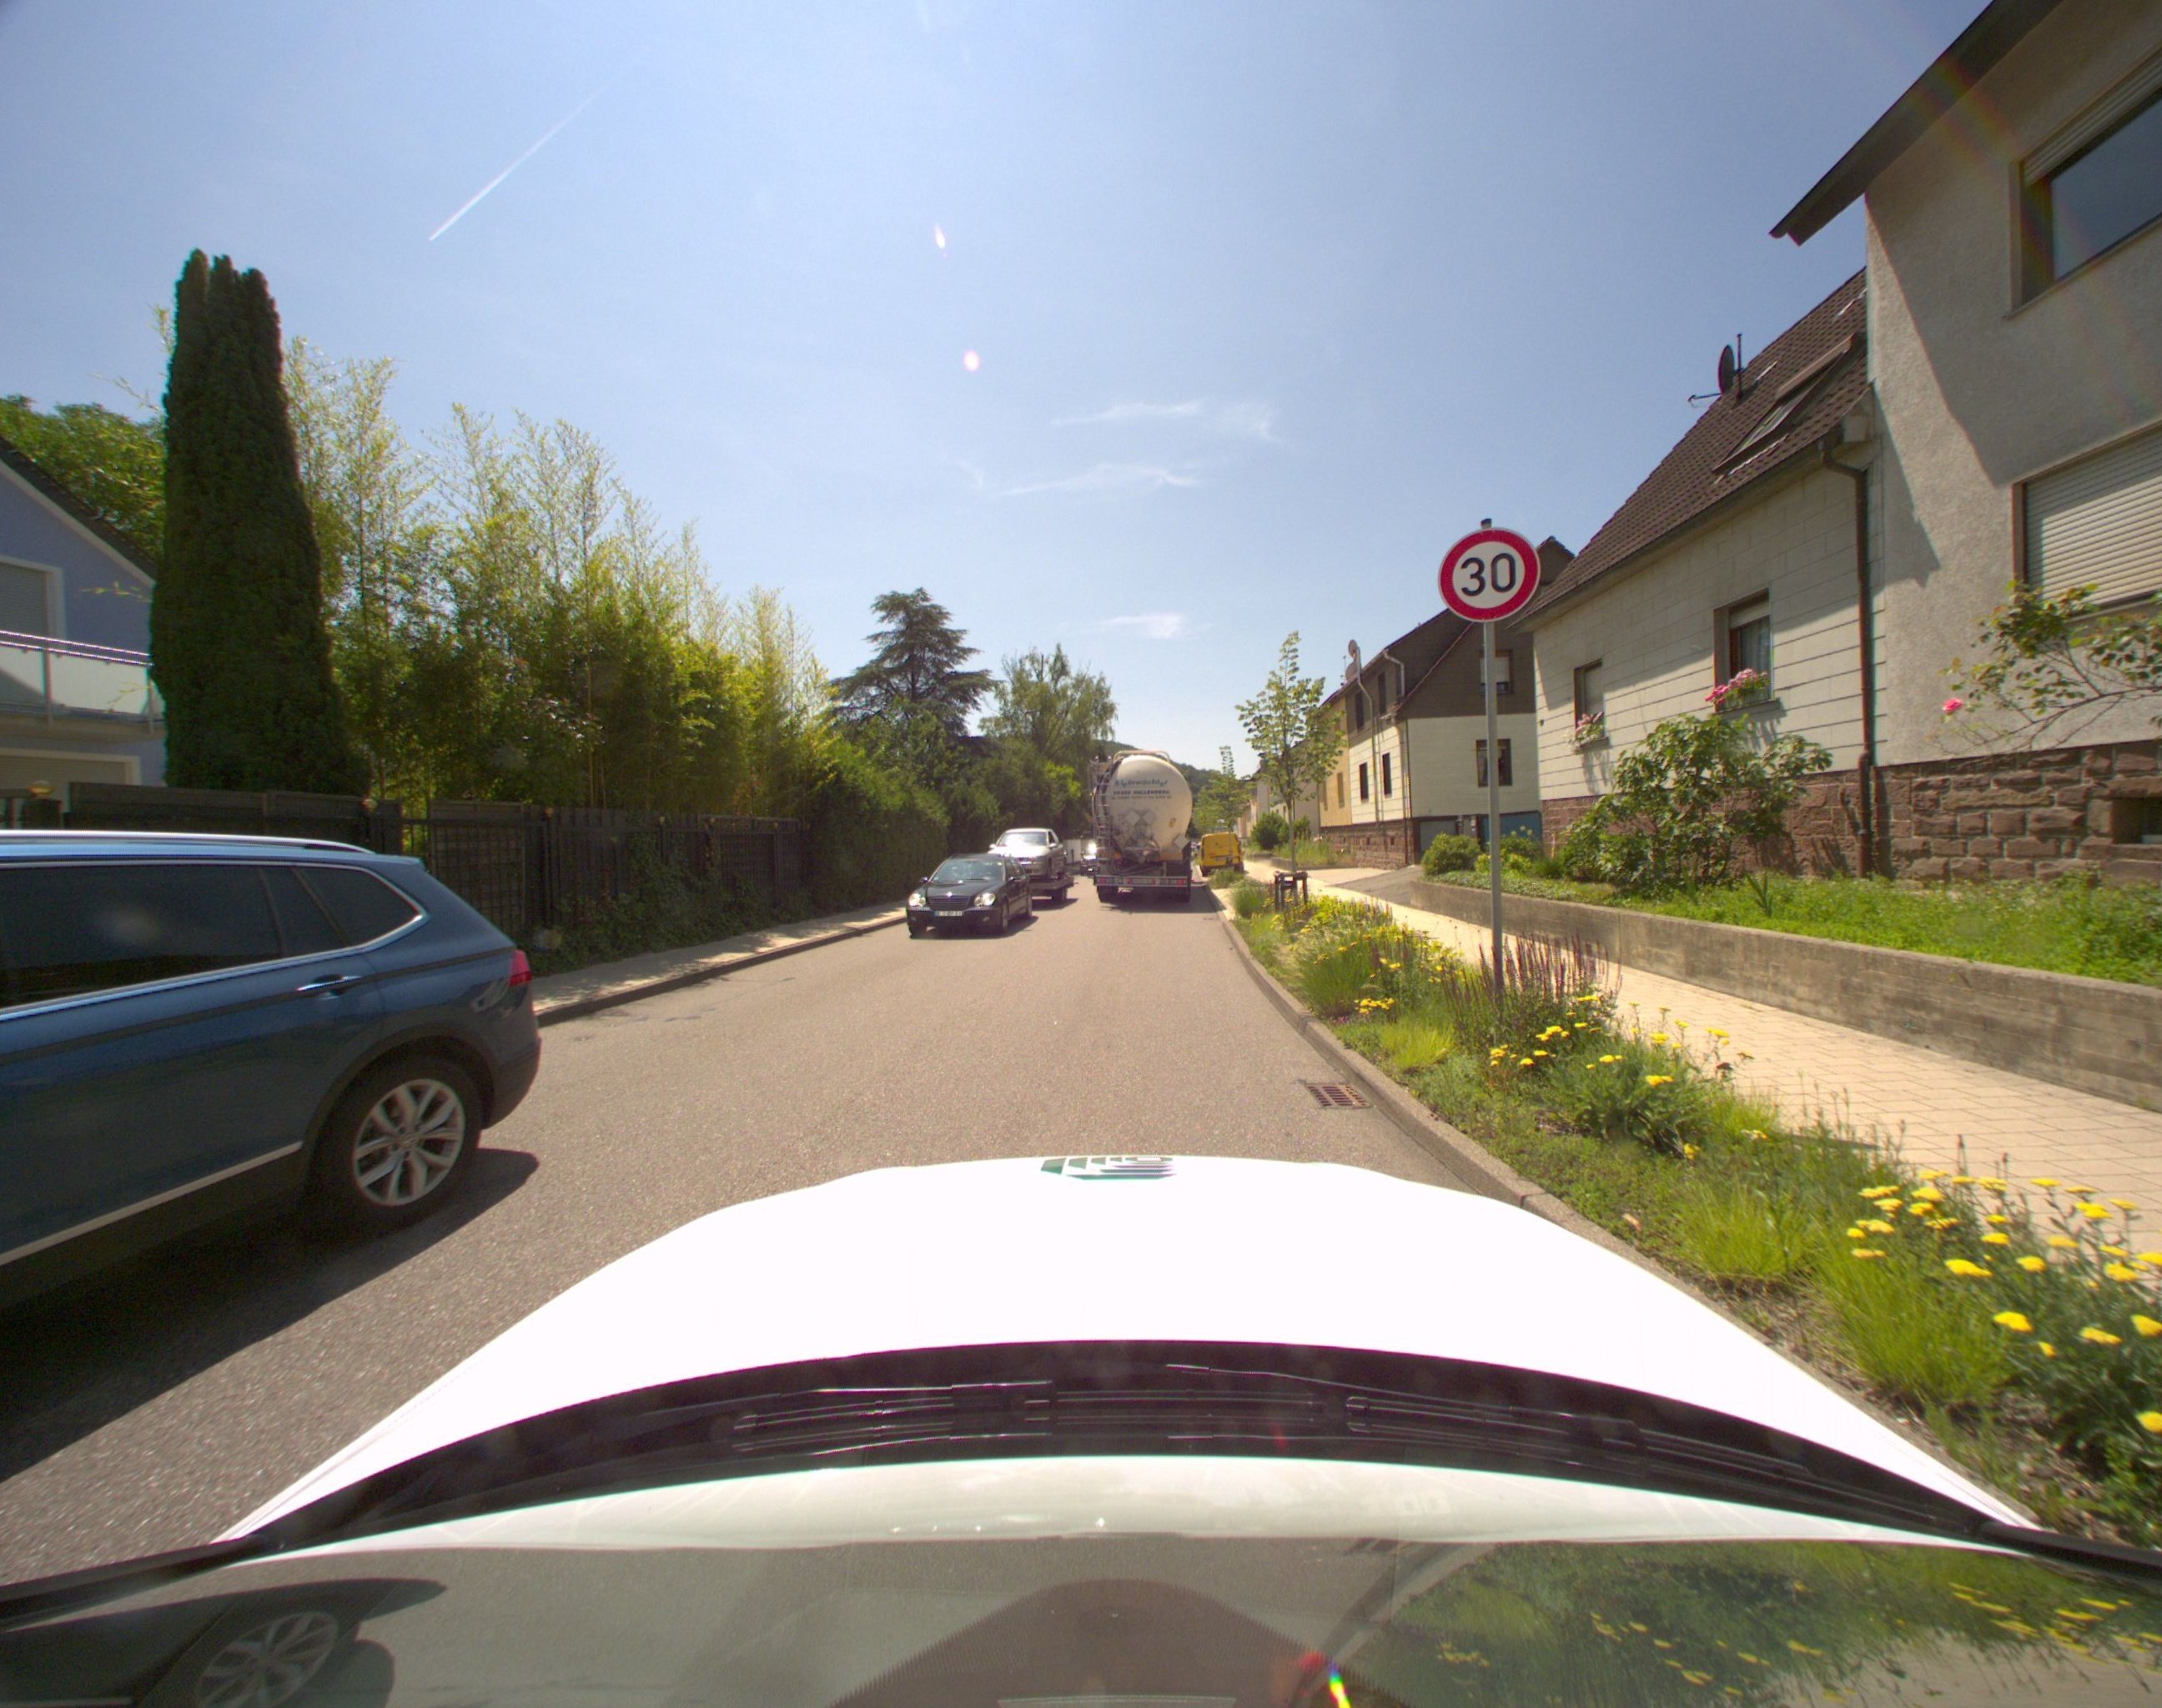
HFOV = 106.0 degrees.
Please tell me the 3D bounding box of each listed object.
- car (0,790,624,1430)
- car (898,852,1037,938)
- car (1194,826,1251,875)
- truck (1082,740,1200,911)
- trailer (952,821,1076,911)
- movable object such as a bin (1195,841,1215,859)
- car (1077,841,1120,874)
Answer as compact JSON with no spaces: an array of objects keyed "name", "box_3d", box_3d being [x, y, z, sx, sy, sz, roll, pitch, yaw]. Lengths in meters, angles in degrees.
[{"name":"car","box_3d":[-3.732,0.701,2.312,1.879,1.645,4.620,-3,0,5]},{"name":"car","box_3d":[-2.034,0.688,15.866,1.758,1.402,4.254,0,1,5]},{"name":"car","box_3d":[6.816,-0.140,39.816,2.179,2.013,5.632,-6,-1,6]},{"name":"truck","box_3d":[2.133,-0.753,24.902,2.735,4.056,10.913,-1,1,7]},{"name":"trailer","box_3d":[-1.515,0.271,21.129,2.145,1.987,6.210,0,0,5]},{"name":"movable object such as a bin","box_3d":[10.538,-0.307,69.357,1.563,1.416,3.047,-2,0,6]},{"name":"car","box_3d":[0.972,0.161,42.905,1.858,1.652,3.956,0,1,7]}]
